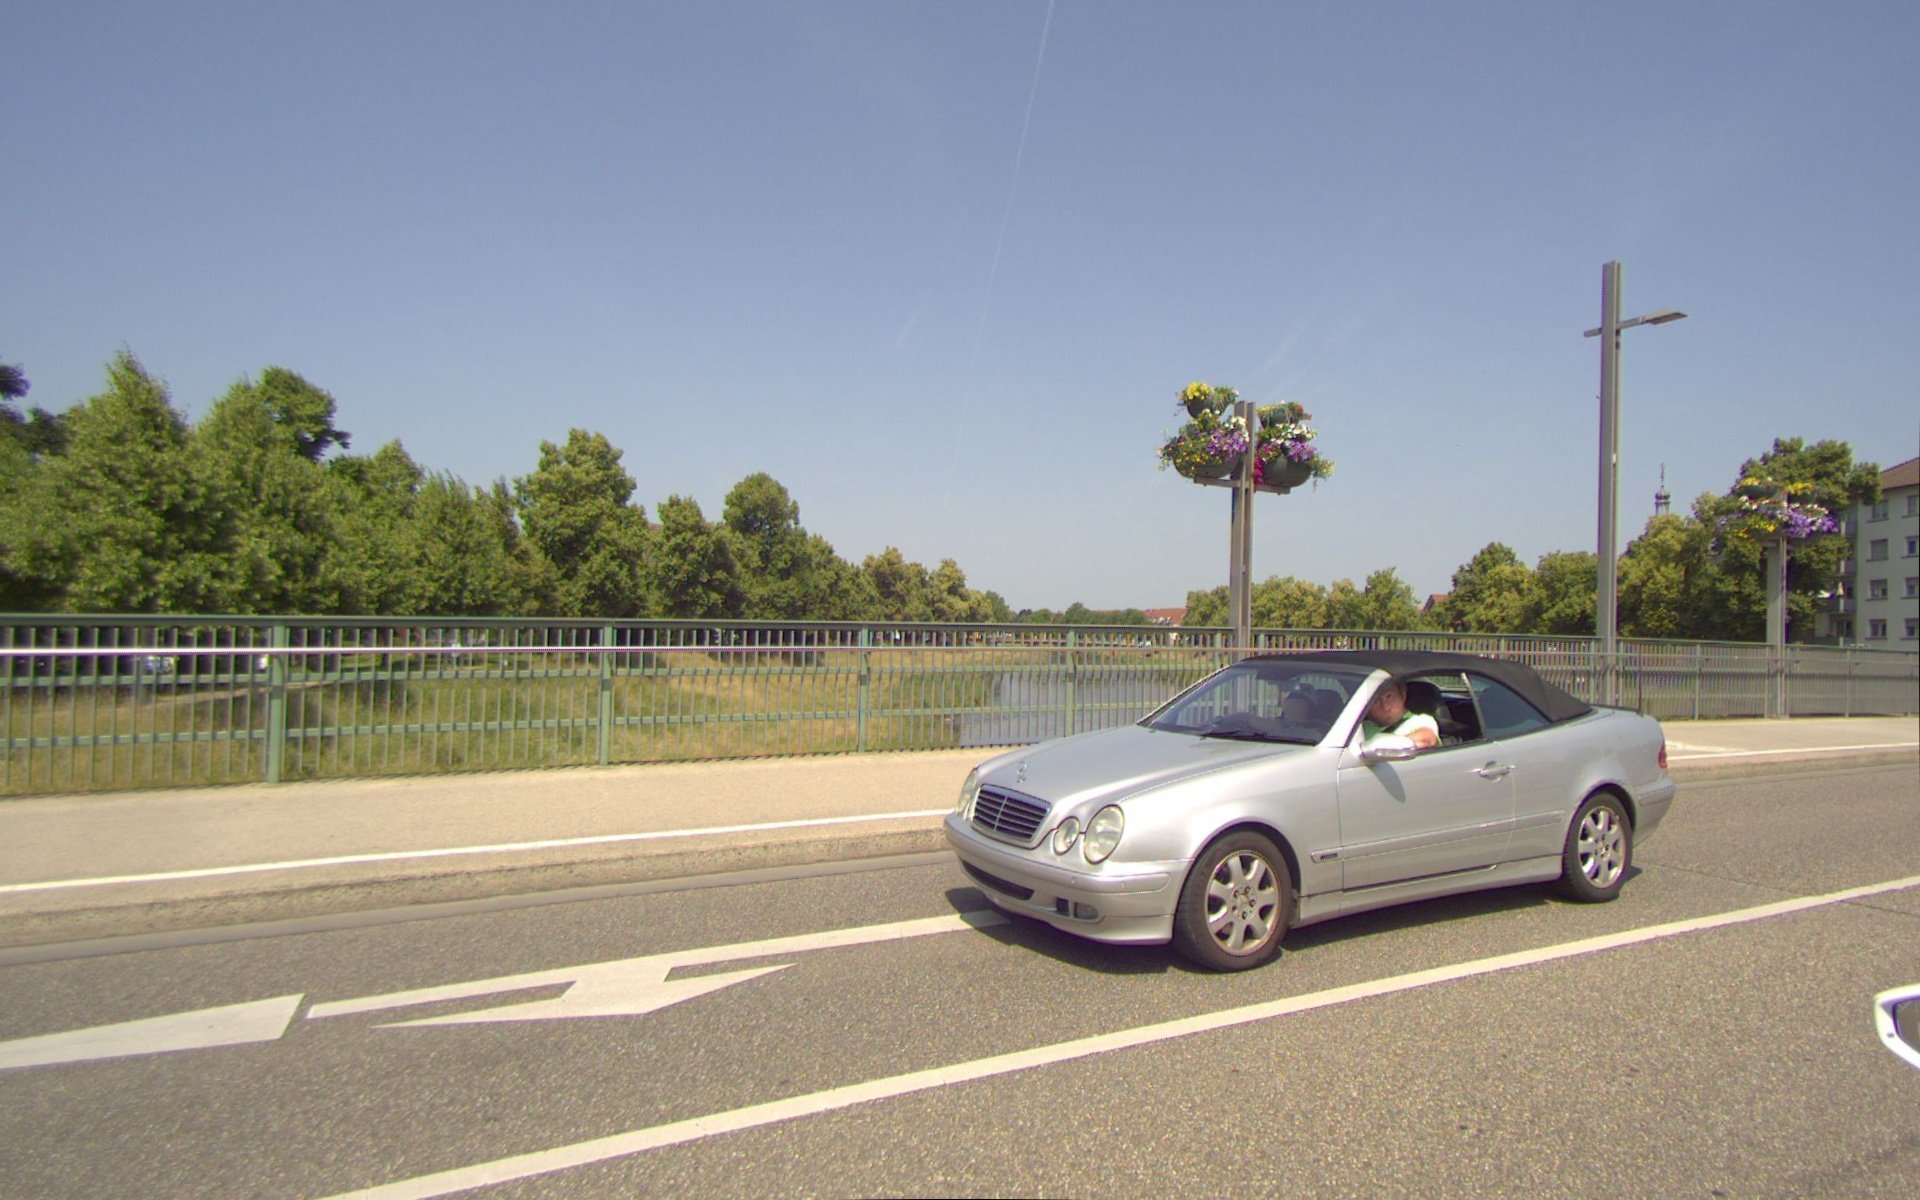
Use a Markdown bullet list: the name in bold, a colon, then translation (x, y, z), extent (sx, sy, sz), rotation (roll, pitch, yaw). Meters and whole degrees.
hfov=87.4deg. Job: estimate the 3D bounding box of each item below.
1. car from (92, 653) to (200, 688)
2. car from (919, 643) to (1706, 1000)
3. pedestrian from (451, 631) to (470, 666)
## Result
- **car**: translation (-41.653, 3.583, 51.509), extent (3.953, 1.671, 1.985), rotation (2, -3, -30)
- **car**: translation (2.109, 0.955, 5.712), extent (4.400, 1.376, 1.692), rotation (2, -3, -28)
- **pedestrian**: translation (-29.867, 2.915, 60.075), extent (0.873, 2.040, 0.720), rotation (3, 0, -30)
